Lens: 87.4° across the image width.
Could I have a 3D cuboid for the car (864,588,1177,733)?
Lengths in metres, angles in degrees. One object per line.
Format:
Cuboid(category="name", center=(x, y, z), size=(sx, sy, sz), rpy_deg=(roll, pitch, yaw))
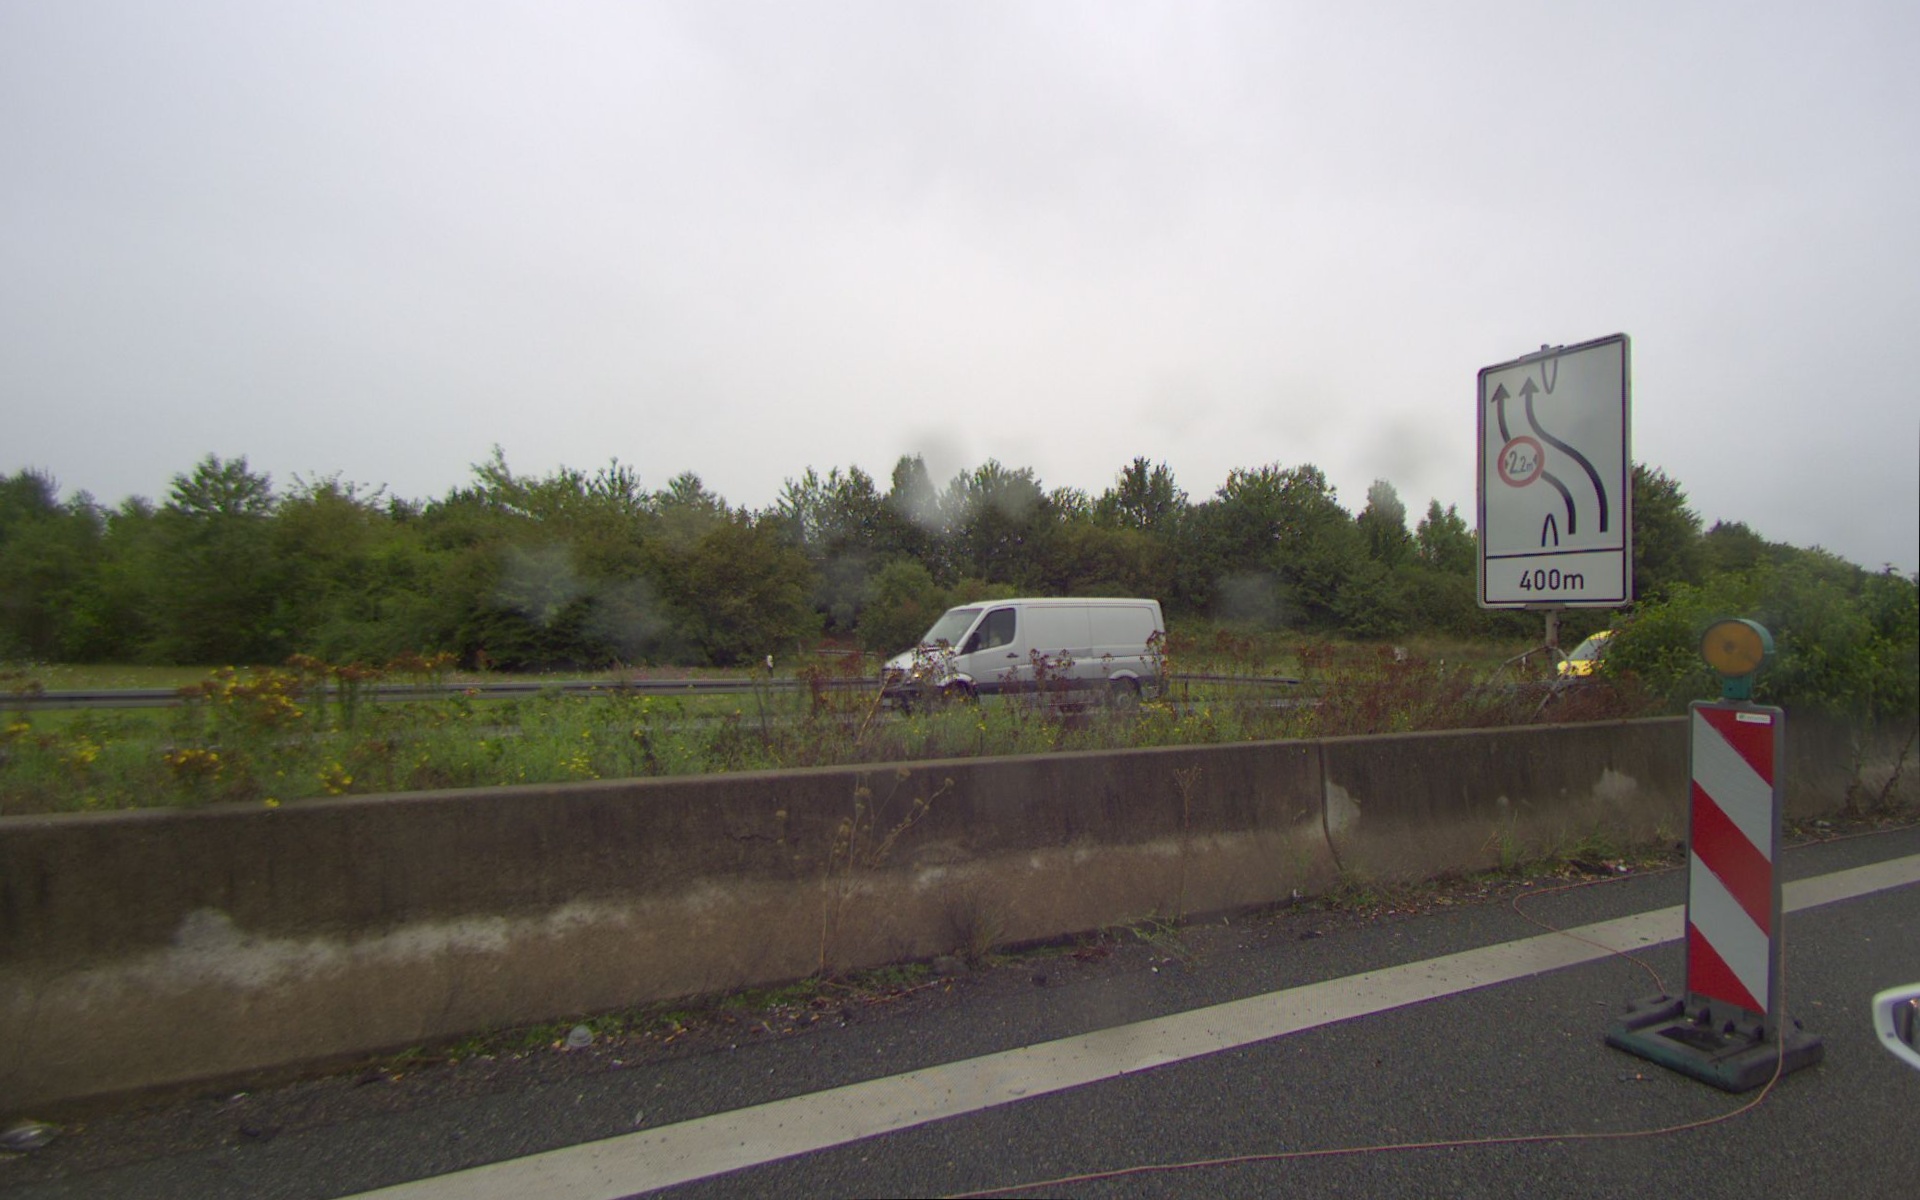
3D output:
Cuboid(category="car", center=(1.232, 1.098, 19.564), size=(5.808, 2.473, 2.232), rpy_deg=(1, -2, -28))
